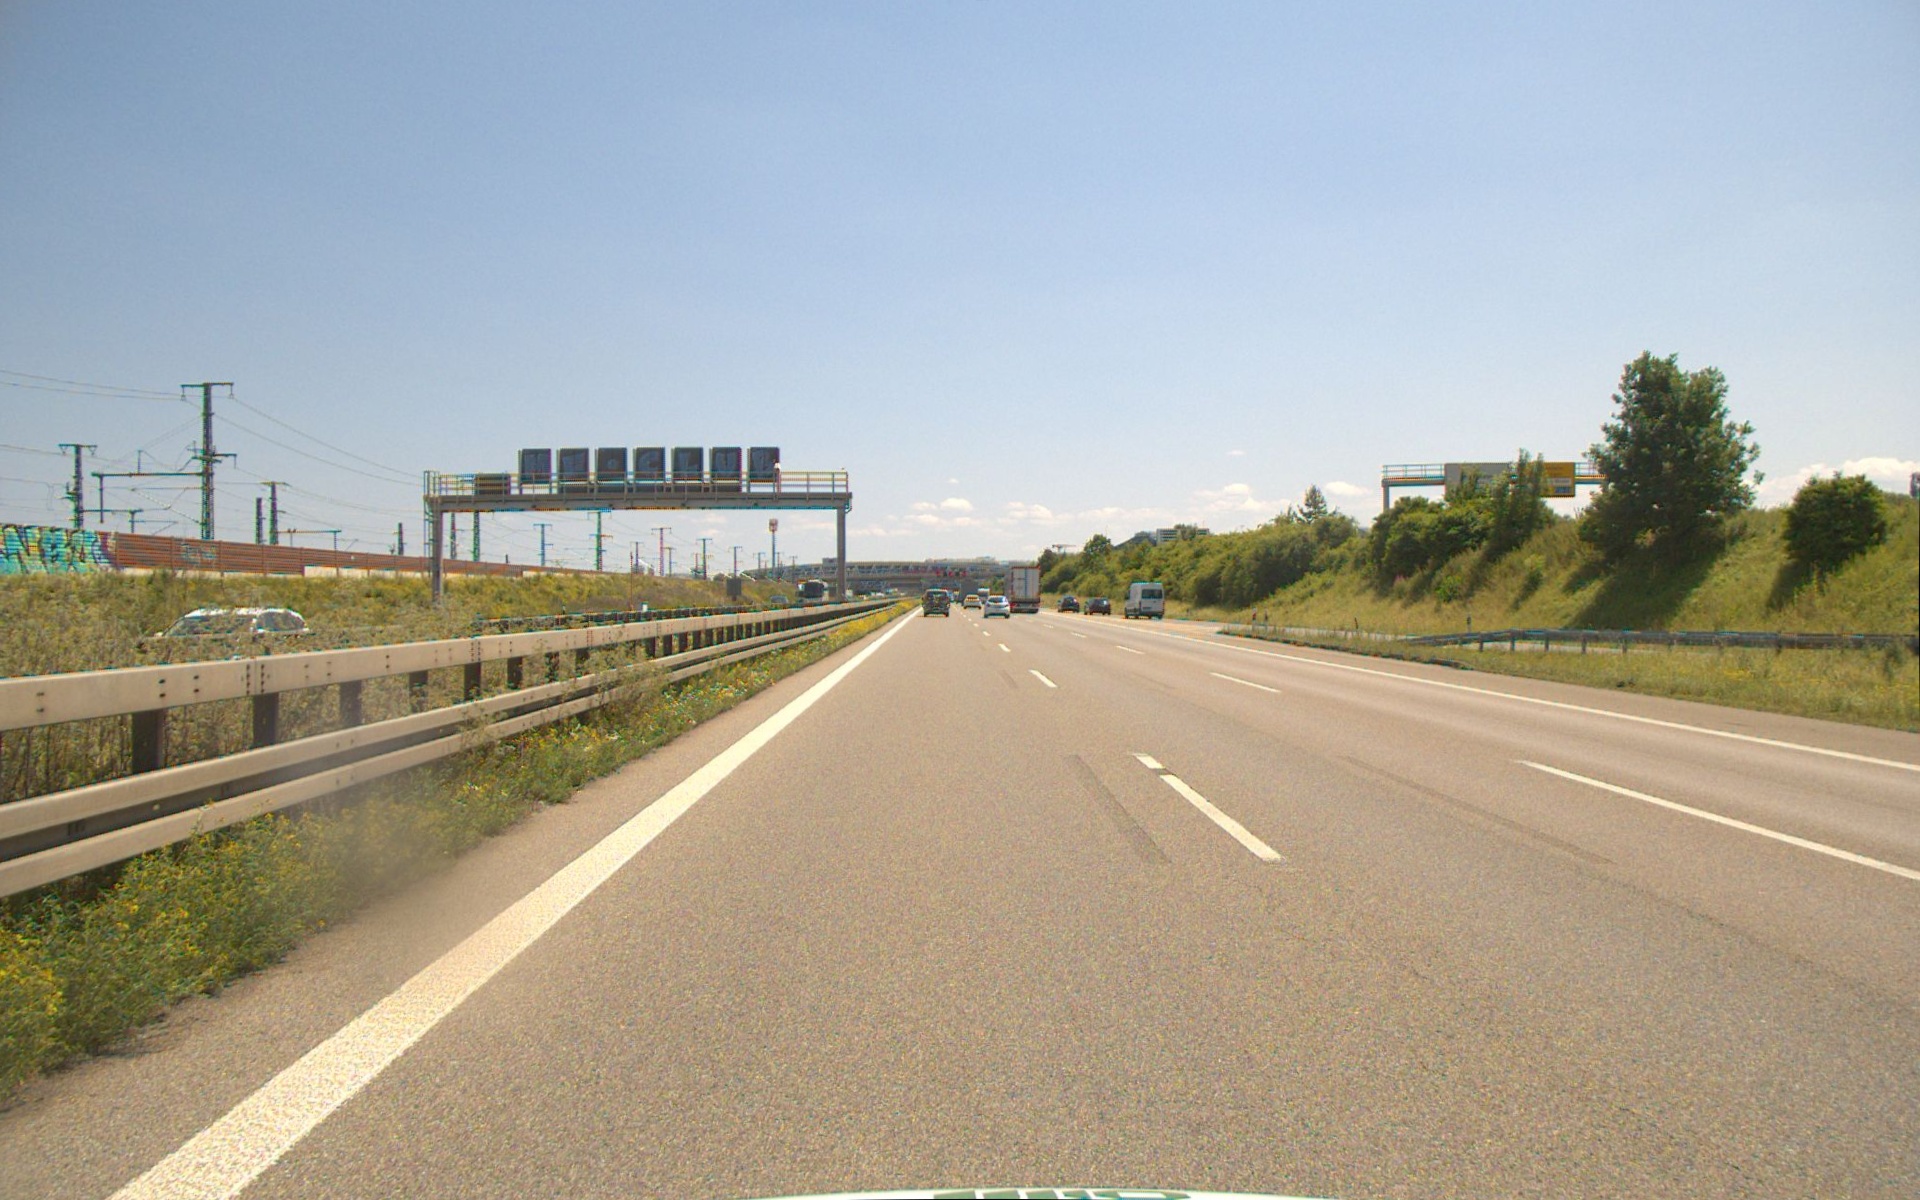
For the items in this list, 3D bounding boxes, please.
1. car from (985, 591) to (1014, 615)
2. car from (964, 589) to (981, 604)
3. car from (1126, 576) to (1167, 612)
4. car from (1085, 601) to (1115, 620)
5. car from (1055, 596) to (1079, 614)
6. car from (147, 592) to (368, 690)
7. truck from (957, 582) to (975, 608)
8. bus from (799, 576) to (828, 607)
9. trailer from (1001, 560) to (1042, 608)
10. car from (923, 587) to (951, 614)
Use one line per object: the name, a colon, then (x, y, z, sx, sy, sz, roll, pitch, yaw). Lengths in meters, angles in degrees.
car: (2.692, 0.228, 111.546, 1.841, 1.553, 4.001, 1, -1, 2)
car: (1.351, -0.403, 178.755, 1.842, 1.553, 4.000, 1, -1, 0)
car: (13.583, -0.427, 120.768, 2.228, 2.572, 5.397, 1, 0, -2)
car: (11.791, 0.880, 139.572, 1.954, 1.534, 3.997, 2, -1, -3)
car: (10.360, 0.455, 159.752, 1.953, 1.624, 3.998, 2, -1, -1)
car: (-12.252, 0.653, 29.210, 1.874, 1.571, 4.809, 0, 0, 0)
truck: (0.799, -0.648, 221.064, 2.307, 3.476, 6.056, 0, 0, -1)
bus: (-18.894, -1.096, 213.866, 2.799, 3.709, 10.939, 2, 0, -1)
trailer: (5.453, -1.436, 148.195, 3.112, 4.130, 9.438, -1, 0, -1)
car: (-1.573, 0.042, 113.291, 1.842, 1.806, 3.999, 0, -1, -1)
